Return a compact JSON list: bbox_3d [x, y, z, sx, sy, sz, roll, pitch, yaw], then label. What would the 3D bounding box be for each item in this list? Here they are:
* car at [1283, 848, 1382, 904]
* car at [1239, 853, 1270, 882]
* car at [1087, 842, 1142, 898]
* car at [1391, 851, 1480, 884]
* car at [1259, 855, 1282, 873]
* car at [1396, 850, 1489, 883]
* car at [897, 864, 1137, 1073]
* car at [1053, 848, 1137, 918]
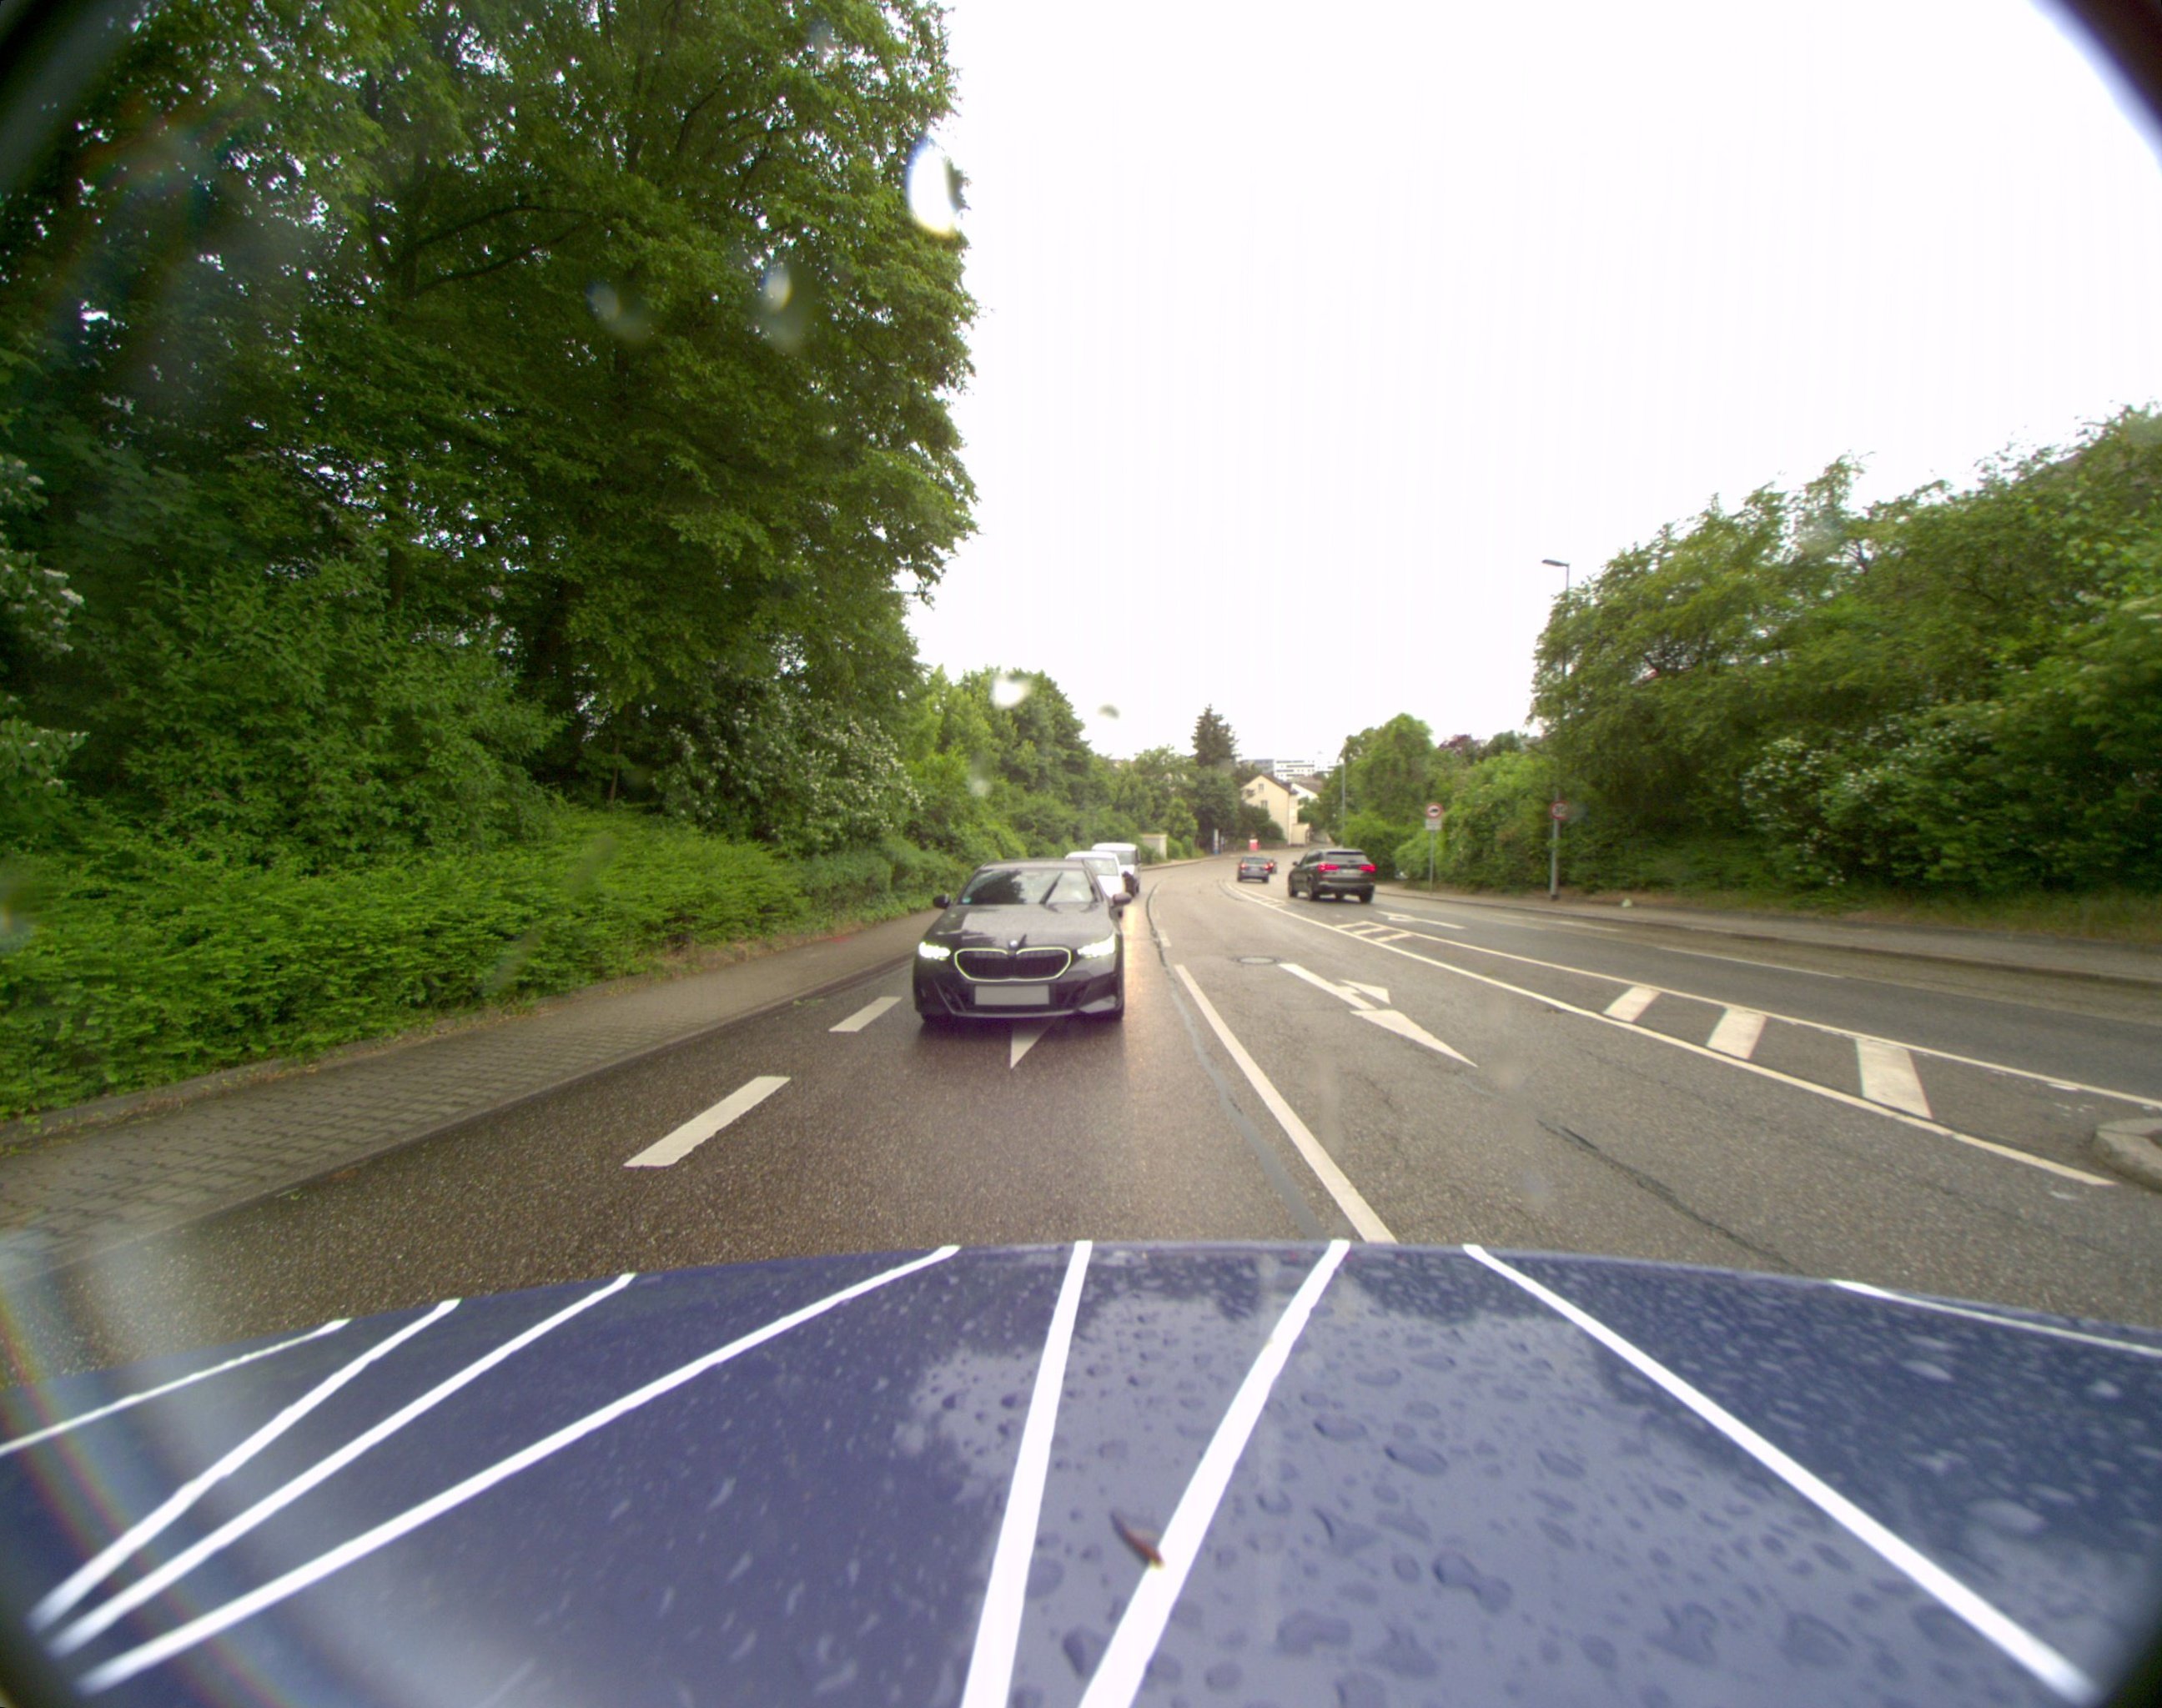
[{"bbox_3d":[8.455,0.670,25.986,1.998,1.707,4.718,0,0,3],"label":"car"},{"bbox_3d":[10.421,0.767,45.633,1.745,1.593,4.036,1,0,13],"label":"car"},{"bbox_3d":[1.271,0.495,27.061,1.777,1.765,4.000,1,2,5],"label":"car"},{"bbox_3d":[19.446,0.752,41.859,3.995,1.527,2.001,-4,0,8],"label":"car"},{"bbox_3d":[16.650,0.834,66.874,1.898,1.500,4.004,1,0,12],"label":"car"},{"bbox_3d":[18.539,0.630,39.147,3.908,1.432,1.812,-4,0,9],"label":"car"},{"bbox_3d":[-0.449,0.926,8.082,1.872,1.497,4.197,1,1,2],"label":"car"},{"bbox_3d":[0.327,0.636,19.170,1.818,1.431,3.999,3,1,0],"label":"car"}]
